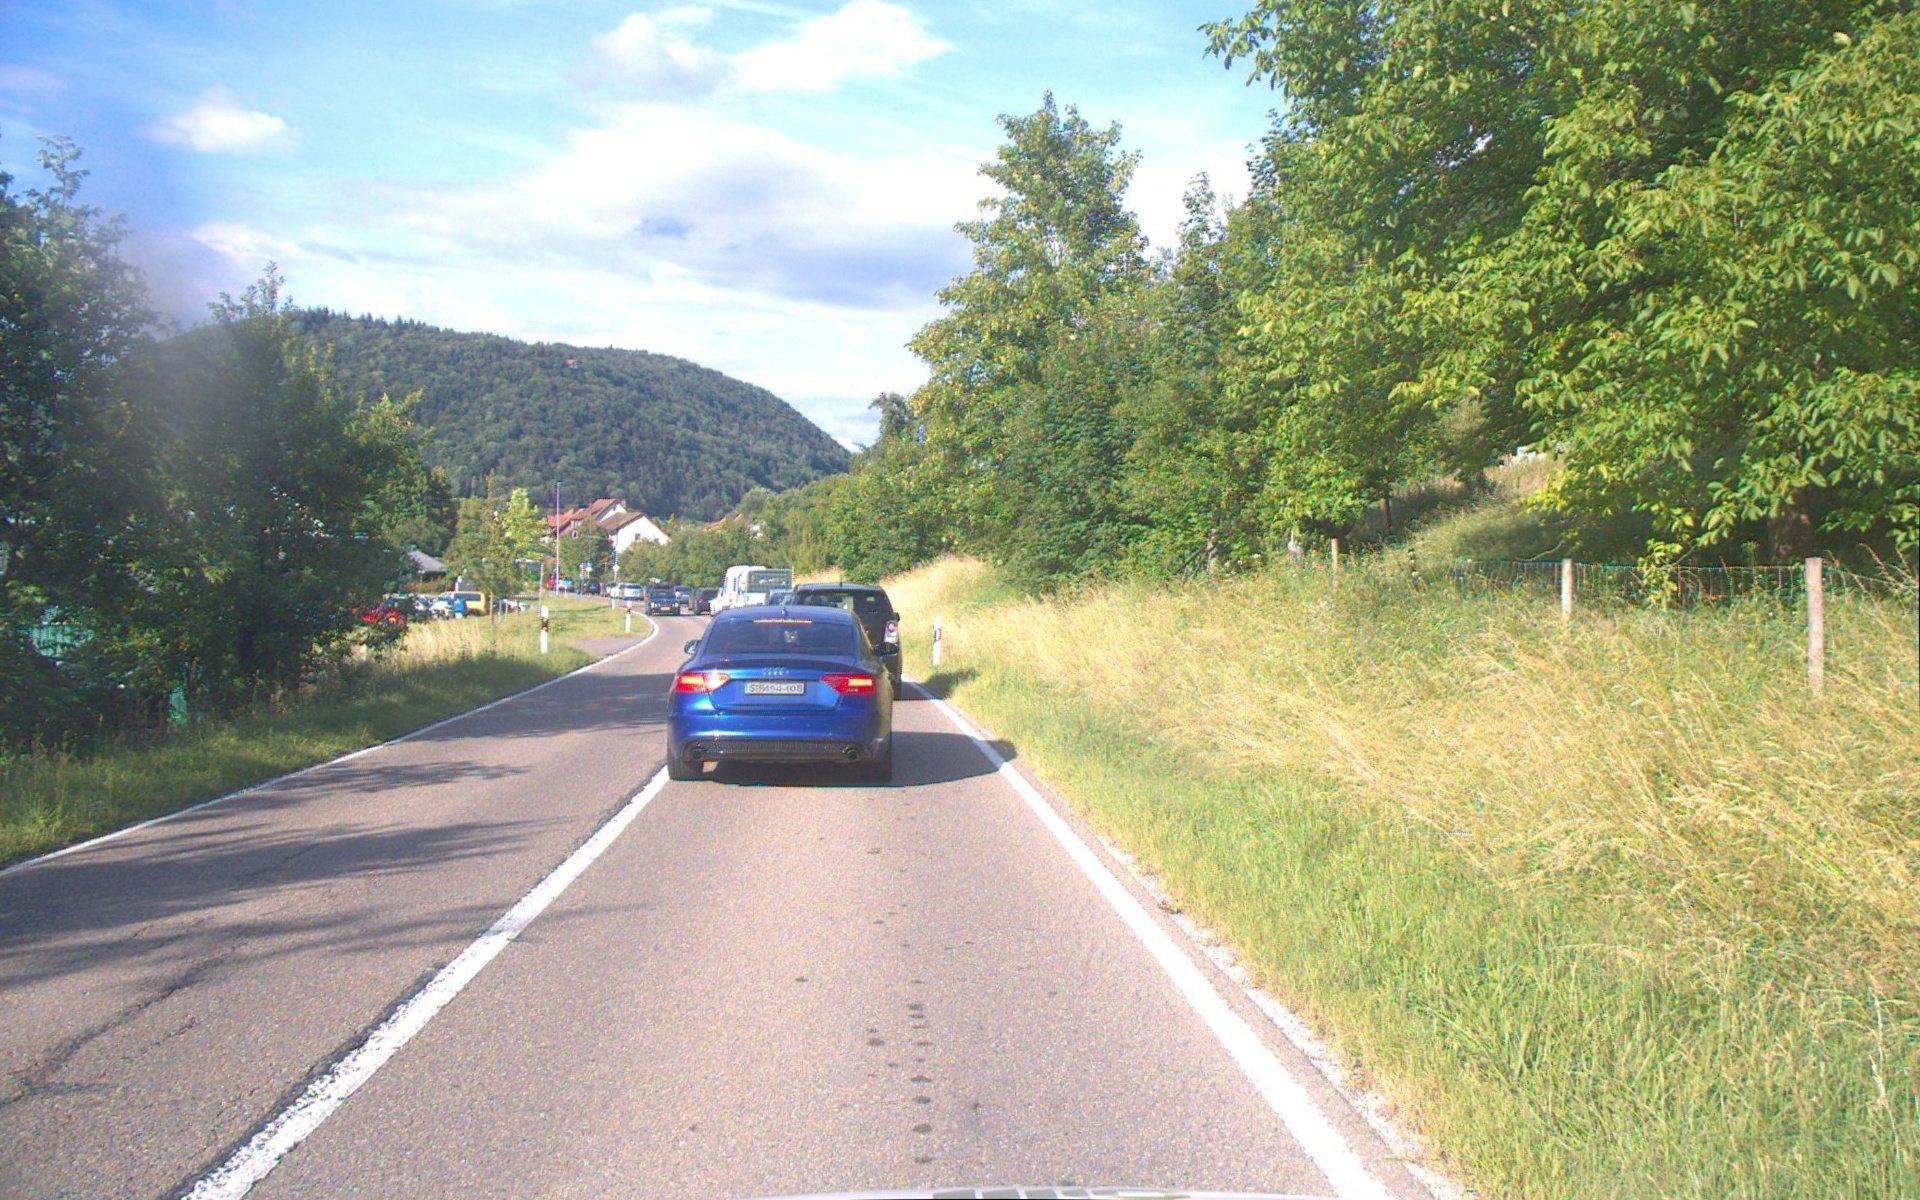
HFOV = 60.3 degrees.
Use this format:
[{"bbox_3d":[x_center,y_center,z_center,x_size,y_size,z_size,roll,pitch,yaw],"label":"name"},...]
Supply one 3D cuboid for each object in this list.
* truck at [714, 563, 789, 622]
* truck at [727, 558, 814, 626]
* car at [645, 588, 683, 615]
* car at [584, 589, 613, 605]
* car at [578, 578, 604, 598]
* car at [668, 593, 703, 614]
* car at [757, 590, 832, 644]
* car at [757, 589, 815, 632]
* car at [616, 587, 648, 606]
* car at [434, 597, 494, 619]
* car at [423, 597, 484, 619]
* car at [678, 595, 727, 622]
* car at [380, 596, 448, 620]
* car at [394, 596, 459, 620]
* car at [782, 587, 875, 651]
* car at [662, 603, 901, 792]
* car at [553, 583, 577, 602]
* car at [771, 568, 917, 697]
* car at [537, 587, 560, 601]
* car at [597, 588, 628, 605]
[{"bbox_3d":[-10.512,-0.372,82.475,2.814,2.712,10.613,1,0,-12],"label":"truck"},{"bbox_3d":[-8.375,-0.346,72.134,2.814,2.712,10.362,1,0,-12],"label":"truck"},{"bbox_3d":[-16.193,0.082,90.381,1.957,1.400,3.990,1,0,-10],"label":"car"},{"bbox_3d":[-34.506,-0.273,157.861,1.967,1.508,3.971,1,0,-23],"label":"car"},{"bbox_3d":[-38.021,-1.246,170.200,1.966,2.049,3.973,1,0,-22],"label":"car"},{"bbox_3d":[-19.823,0.246,119.409,1.962,1.508,3.980,1,0,-17],"label":"car"},{"bbox_3d":[-4.984,0.502,49.380,1.957,1.508,3.991,1,0,-10],"label":"car"},{"bbox_3d":[-6.497,0.379,61.477,1.956,1.508,3.992,1,0,-8],"label":"car"},{"bbox_3d":[-28.340,-0.300,142.791,1.967,1.508,3.971,1,0,-23],"label":"car"},{"bbox_3d":[-36.751,0.589,122.537,3.907,1.580,1.781,1,0,-3],"label":"car"},{"bbox_3d":[-36.745,0.577,120.099,3.907,1.580,1.781,1,0,-3],"label":"car"},{"bbox_3d":[-14.774,0.487,94.868,1.965,1.508,3.974,1,0,-21],"label":"car"},{"bbox_3d":[-36.518,0.532,110.715,3.907,1.580,1.781,1,0,-3],"label":"car"},{"bbox_3d":[-36.704,0.546,113.904,3.907,1.580,1.781,1,0,-3],"label":"car"},{"bbox_3d":[-3.174,0.442,39.375,1.956,1.411,3.992,1,0,-8],"label":"car"},{"bbox_3d":[-1.395,0.729,14.281,1.757,1.383,3.998,0,0,-2],"label":"car"},{"bbox_3d":[-43.259,-0.830,180.965,1.966,2.049,3.973,1,0,-22],"label":"car"},{"bbox_3d":[-1.688,0.456,24.585,1.954,1.732,3.997,1,0,-3],"label":"car"},{"bbox_3d":[-47.128,-0.699,189.283,1.967,1.508,3.971,1,0,-23],"label":"car"},{"bbox_3d":[-31.339,-0.291,149.106,1.967,1.508,3.971,1,0,-23],"label":"car"}]
